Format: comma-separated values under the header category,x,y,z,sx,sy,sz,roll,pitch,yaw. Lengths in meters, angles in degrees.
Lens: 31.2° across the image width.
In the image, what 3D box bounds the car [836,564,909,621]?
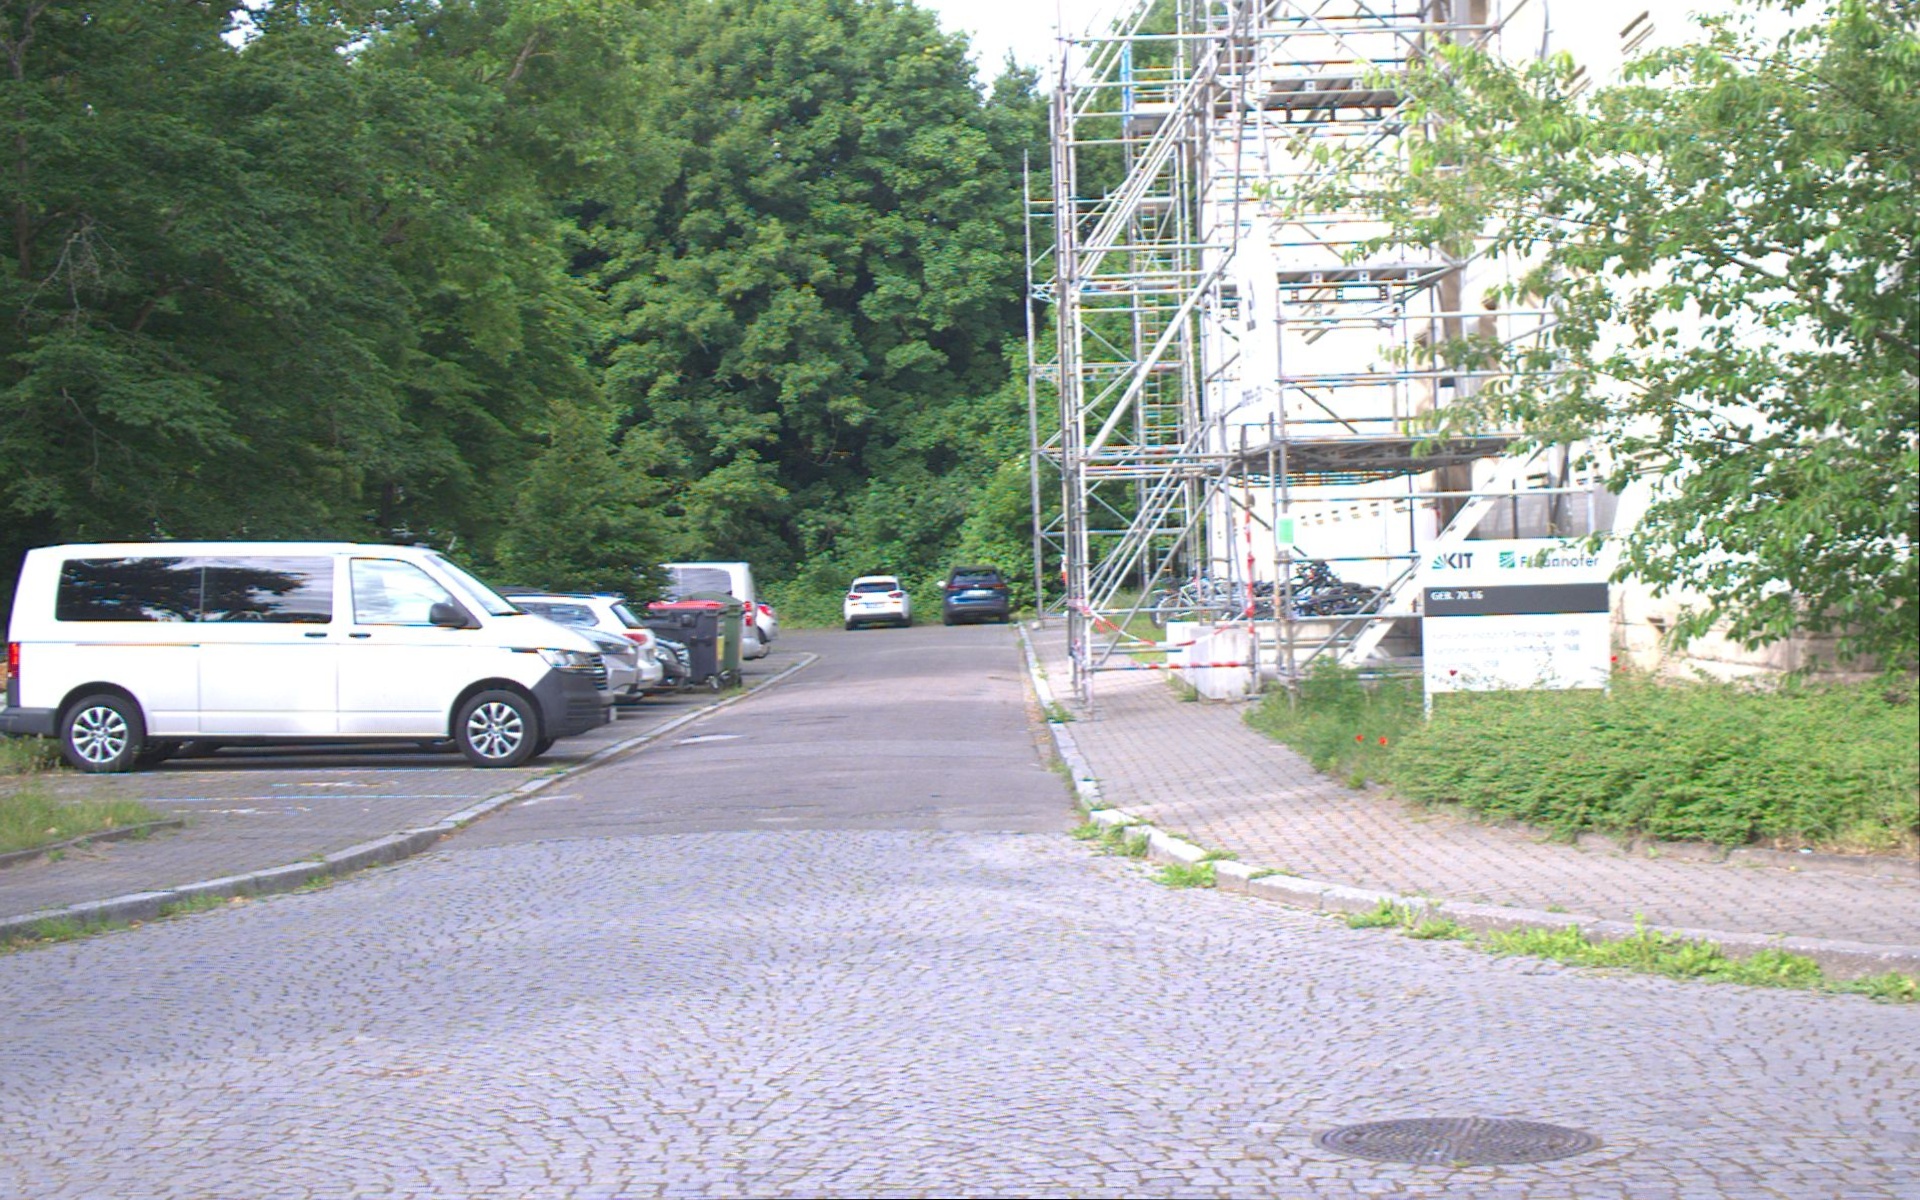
category,x,y,z,sx,sy,sz,roll,pitch,yaw
car,-2.471,-0.194,96.377,2.001,1.543,3.958,1,0,-2

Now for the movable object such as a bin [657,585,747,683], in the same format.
category,x,y,z,sx,sy,sz,roll,pitch,yaw
movable object such as a bin,-3.755,0.495,50.109,1.184,1.402,0.975,1,0,2

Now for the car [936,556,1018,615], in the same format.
category,x,y,z,sx,sy,sz,roll,pitch,yaw
car,0.497,-0.396,96.348,2.063,1.588,3.999,1,0,4

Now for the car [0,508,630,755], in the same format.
category,x,y,z,sx,sy,sz,roll,pitch,yaw
car,-5.625,0.270,30.341,5.200,2.053,2.188,0,0,0

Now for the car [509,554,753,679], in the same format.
category,x,y,z,sx,sy,sz,roll,pitch,yaw
car,-5.498,0.276,57.832,3.986,2.007,1.922,1,0,-3

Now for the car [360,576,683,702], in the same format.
category,x,y,z,sx,sy,sz,roll,pitch,yaw
car,-5.463,0.480,43.034,3.629,1.476,1.820,1,0,9

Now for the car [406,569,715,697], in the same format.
category,x,y,z,sx,sy,sz,roll,pitch,yaw
car,-5.226,0.420,45.186,3.682,1.587,1.764,1,0,8

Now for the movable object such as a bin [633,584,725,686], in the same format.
category,x,y,z,sx,sy,sz,roll,pitch,yaw
movable object such as a bin,-3.981,0.492,48.798,1.184,1.402,0.975,1,0,2
